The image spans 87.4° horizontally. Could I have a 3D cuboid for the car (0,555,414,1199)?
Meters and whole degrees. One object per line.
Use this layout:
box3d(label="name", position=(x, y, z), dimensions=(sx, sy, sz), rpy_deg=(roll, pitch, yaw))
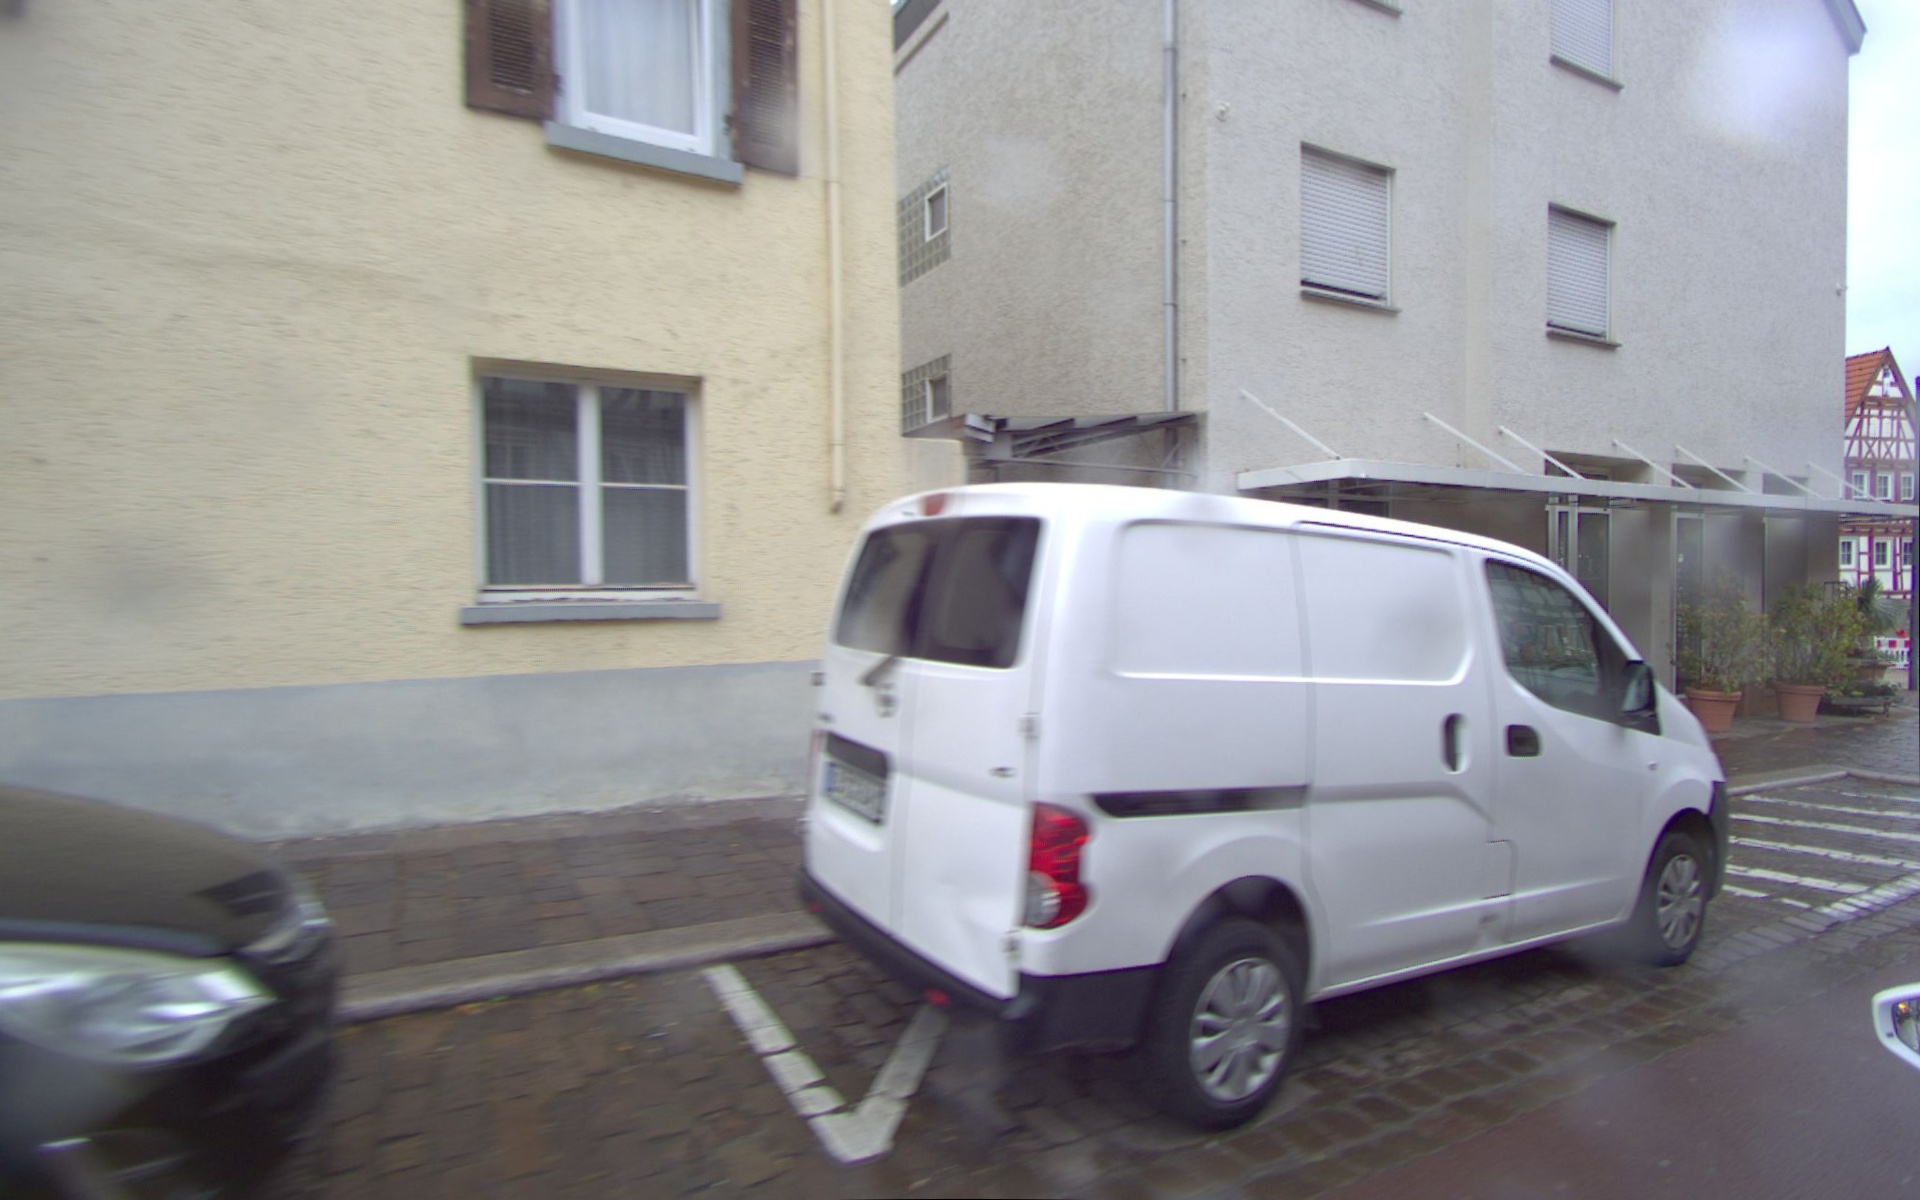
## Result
box3d(label="car", position=(-3.074, 0.597, 1.569), dimensions=(3.785, 1.407, 1.671), rpy_deg=(1, 0, -33))

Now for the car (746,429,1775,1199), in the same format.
box3d(label="car", position=(1.496, 0.554, 4.255), dimensions=(4.379, 1.849, 1.714), rpy_deg=(1, 0, -32))
